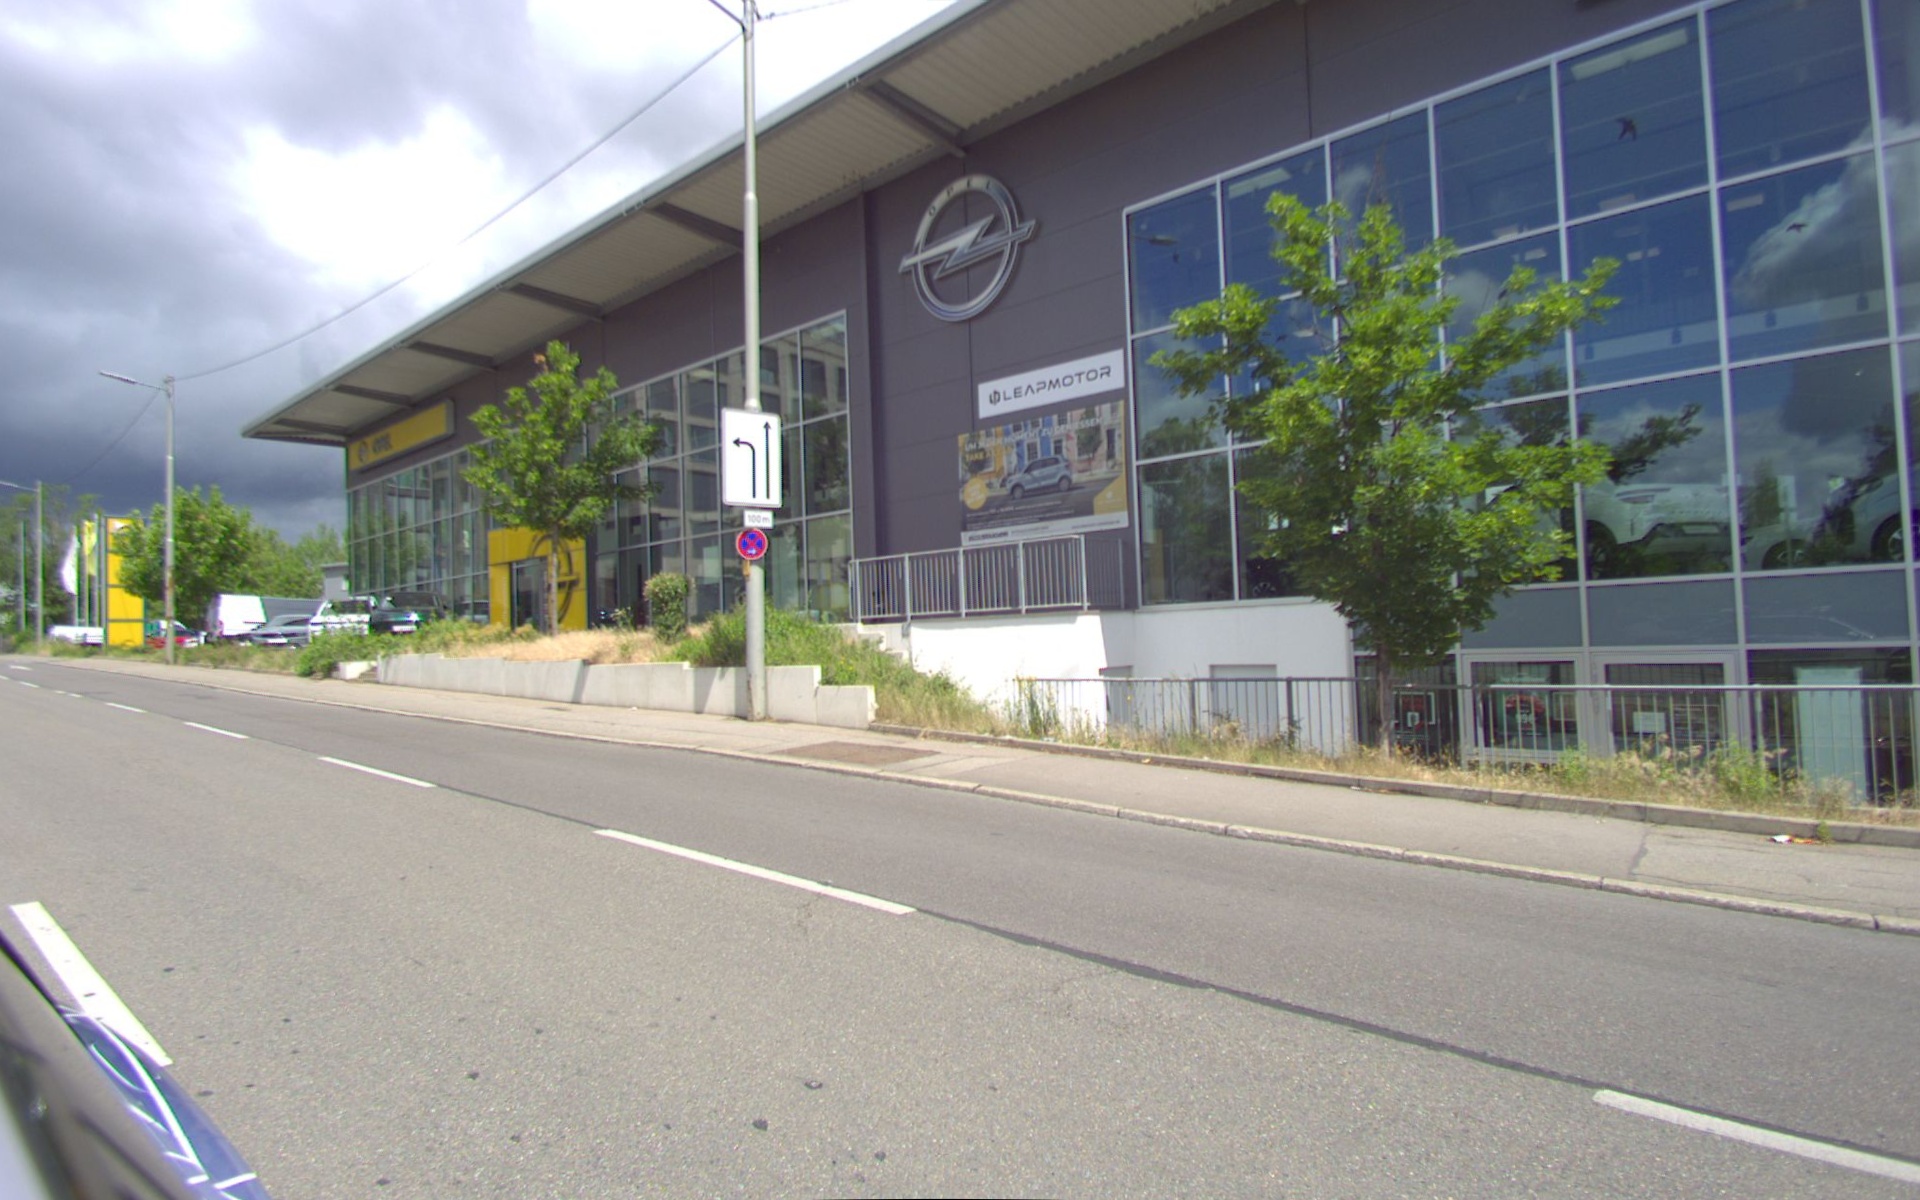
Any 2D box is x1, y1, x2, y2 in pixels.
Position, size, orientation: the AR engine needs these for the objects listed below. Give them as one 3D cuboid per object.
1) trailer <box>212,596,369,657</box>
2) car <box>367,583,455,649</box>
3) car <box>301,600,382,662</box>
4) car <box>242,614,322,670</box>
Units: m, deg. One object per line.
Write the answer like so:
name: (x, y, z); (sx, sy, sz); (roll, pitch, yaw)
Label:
trailer: (-27.420, 1.083, 41.605); (1.998, 2.367, 5.011); (-1, -2, 39)
car: (-15.682, 0.469, 28.801); (1.966, 1.741, 4.011); (1, -2, -31)
car: (-19.208, 0.945, 31.590); (1.966, 1.807, 4.012); (1, -2, -29)
car: (-23.473, 1.404, 35.152); (1.966, 1.807, 4.012); (1, -1, -29)
